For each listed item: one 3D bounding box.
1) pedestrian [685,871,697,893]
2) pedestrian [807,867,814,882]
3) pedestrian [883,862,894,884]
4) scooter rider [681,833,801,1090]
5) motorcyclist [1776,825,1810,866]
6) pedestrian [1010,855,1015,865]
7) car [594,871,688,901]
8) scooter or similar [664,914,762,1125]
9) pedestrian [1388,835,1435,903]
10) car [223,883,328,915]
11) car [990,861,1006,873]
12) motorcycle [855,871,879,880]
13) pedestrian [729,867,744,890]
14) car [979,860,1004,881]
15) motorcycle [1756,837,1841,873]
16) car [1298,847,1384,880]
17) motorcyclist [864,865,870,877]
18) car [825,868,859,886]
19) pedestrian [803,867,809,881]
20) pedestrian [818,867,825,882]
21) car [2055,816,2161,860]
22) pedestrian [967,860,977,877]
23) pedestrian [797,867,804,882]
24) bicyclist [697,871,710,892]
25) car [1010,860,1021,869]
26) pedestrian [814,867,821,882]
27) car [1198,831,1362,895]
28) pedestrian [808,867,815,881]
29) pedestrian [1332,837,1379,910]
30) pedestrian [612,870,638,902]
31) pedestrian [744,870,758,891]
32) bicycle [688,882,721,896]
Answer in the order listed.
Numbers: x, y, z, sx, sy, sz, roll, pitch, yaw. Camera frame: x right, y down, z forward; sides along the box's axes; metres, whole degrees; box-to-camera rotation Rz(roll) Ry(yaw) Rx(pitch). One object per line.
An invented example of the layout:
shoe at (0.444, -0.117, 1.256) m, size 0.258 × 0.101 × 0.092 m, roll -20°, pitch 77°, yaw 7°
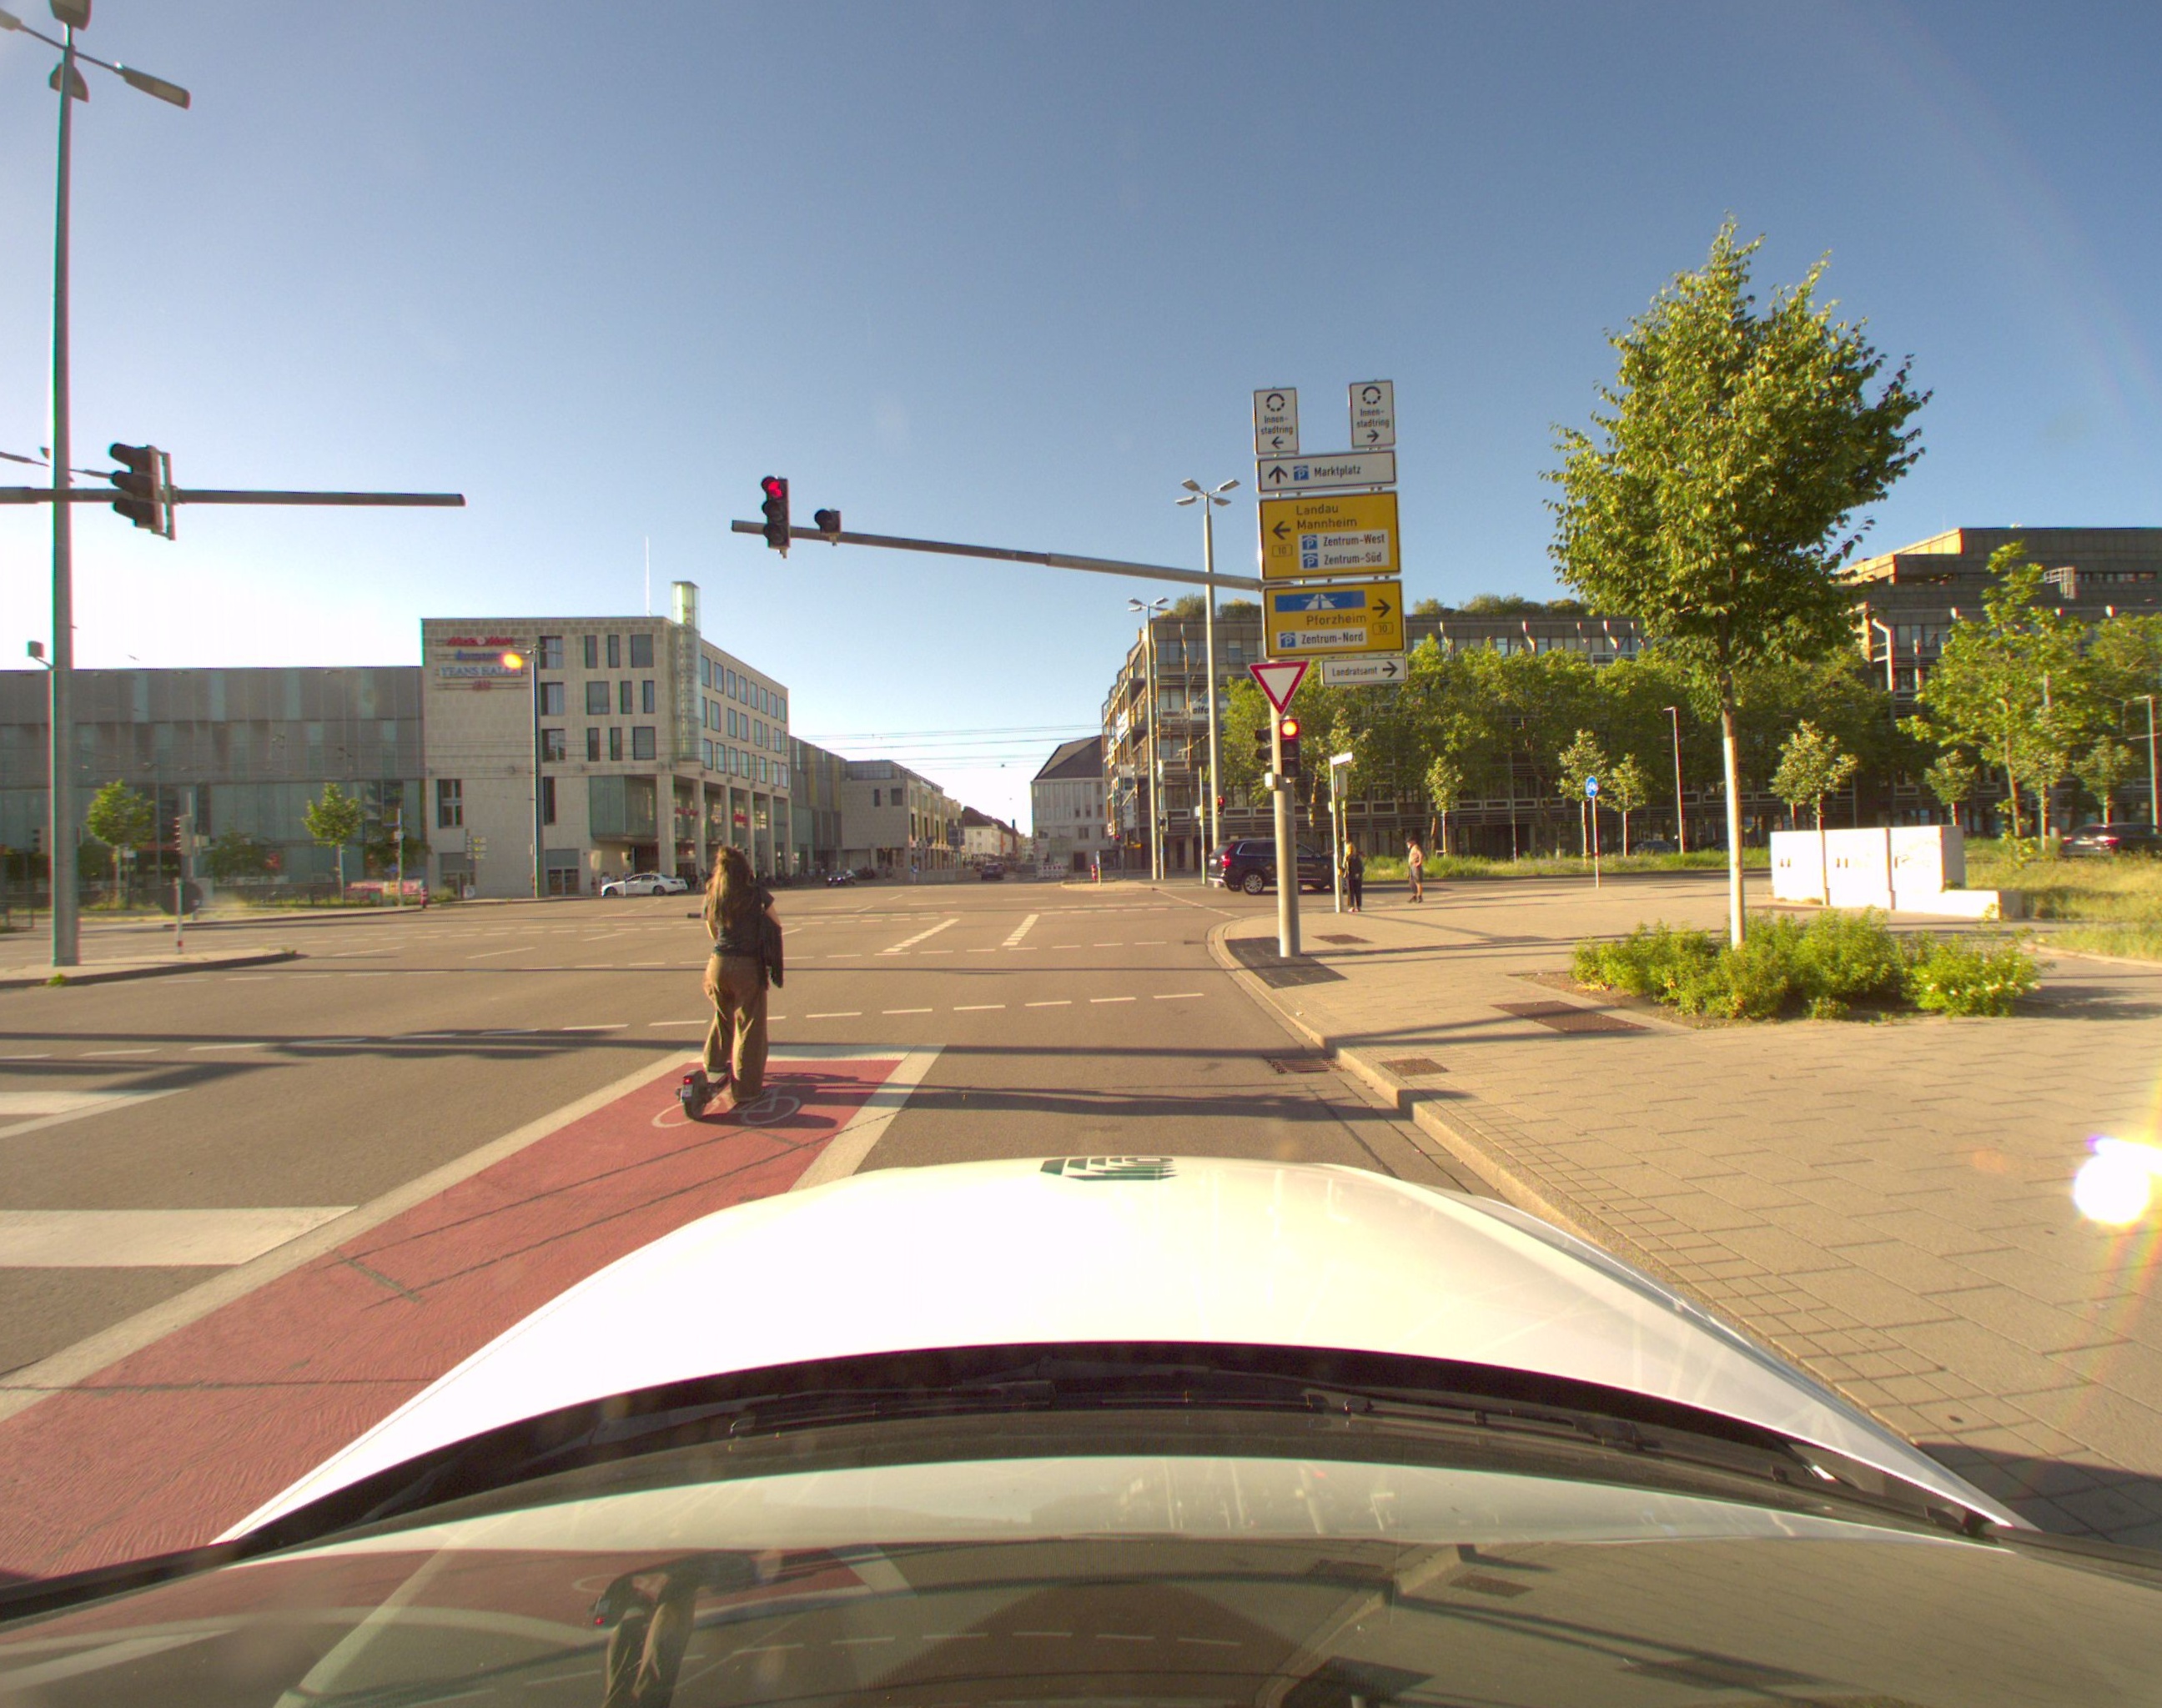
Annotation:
pedestrian at (-30.593, 2.189, 63.840) m, size 0.590 × 1.646 × 0.629 m, roll -2°, pitch 0°, yaw 1°
pedestrian at (-30.928, 2.330, 93.039) m, size 0.465 × 1.729 × 0.632 m, roll -1°, pitch -1°, yaw 35°
pedestrian at (-15.075, 1.474, 63.770) m, size 0.697 × 1.688 × 0.620 m, roll -2°, pitch 0°, yaw 2°
scooter rider at (-2.131, 0.645, 5.149) m, size 0.552 × 1.530 × 0.448 m, roll -2°, pitch 0°, yaw -7°
motorcyclist at (25.448, -0.304, 29.116) m, size 0.656 × 1.423 × 0.647 m, roll -2°, pitch 1°, yaw -6°
pedestrian at (-13.898, 1.188, 165.266) m, size 0.907 × 1.965 × 0.823 m, roll 0°, pitch -1°, yaw 1°
car at (-27.524, 1.986, 51.064) m, size 4.832 × 1.684 × 1.824 m, roll -2°, pitch 0°, yaw -2°
scooter or similar at (-2.226, 0.957, 4.981) m, size 0.306 × 1.107 × 0.835 m, roll -2°, pitch 0°, yaw -9°
pedestrian at (8.561, 0.372, 21.114) m, size 0.869 × 1.706 × 0.768 m, roll -2°, pitch 0°, yaw 0°
car at (-48.572, 2.706, 49.173) m, size 4.392 × 1.684 × 1.824 m, roll -2°, pitch 0°, yaw -2°
car at (-11.015, 1.749, 108.531) m, size 1.652 × 1.458 × 3.543 m, roll -2°, pitch 0°, yaw 2°
motorcycle at (-25.950, 2.599, 98.732) m, size 2.600 × 0.993 × 1.113 m, roll 0°, pitch -1°, yaw -8°
pedestrian at (-28.403, 2.000, 67.188) m, size 0.935 × 1.864 × 0.541 m, roll -2°, pitch 0°, yaw 18°
car at (-7.821, 1.415, 71.346) m, size 1.815 × 1.684 × 3.997 m, roll -2°, pitch 0°, yaw -2°
motorcycle at (25.692, 0.020, 29.162) m, size 2.591 × 1.208 × 0.728 m, roll -2°, pitch 1°, yaw -6°
car at (14.736, 0.522, 46.249) m, size 4.287 × 1.684 × 1.820 m, roll -2°, pitch 0°, yaw -9°
motorcyclist at (-25.977, 2.090, 98.809) m, size 0.627 × 1.406 × 0.661 m, roll 0°, pitch -1°, yaw -7°
car at (-20.696, 1.979, 70.617) m, size 1.670 × 1.357 × 4.021 m, roll -2°, pitch 0°, yaw 1°
pedestrian at (-32.436, 2.365, 96.036) m, size 0.465 × 1.729 × 0.524 m, roll -1°, pitch -1°, yaw 40°
pedestrian at (-29.878, 2.328, 93.789) m, size 0.465 × 1.729 × 0.699 m, roll -1°, pitch -1°, yaw 40°
car at (38.839, -0.603, 30.153) m, size 3.855 × 1.510 × 1.669 m, roll -2°, pitch 0°, yaw -6°
pedestrian at (-11.550, 1.511, 86.137) m, size 0.896 × 1.782 × 0.809 m, roll -2°, pitch 0°, yaw 1°
pedestrian at (-32.517, 2.353, 94.412) m, size 0.465 × 1.729 × 0.524 m, roll -1°, pitch -1°, yaw 40°
bicyclist at (-27.805, 2.024, 59.996) m, size 0.620 × 1.448 × 0.592 m, roll -2°, pitch 0°, yaw 32°
car at (-11.744, 1.844, 146.410) m, size 1.652 × 1.458 × 3.543 m, roll -2°, pitch 0°, yaw 2°
pedestrian at (-31.033, 2.380, 95.814) m, size 0.465 × 1.729 × 0.632 m, roll -1°, pitch -1°, yaw 30°
car at (6.440, 0.266, 26.581) m, size 4.815 × 1.864 × 1.880 m, roll -2°, pitch 0°, yaw -9°
pedestrian at (-31.703, 2.367, 95.831) m, size 0.465 × 1.683 × 0.524 m, roll -1°, pitch -1°, yaw 40°
pedestrian at (6.370, 0.445, 18.923) m, size 0.763 × 1.614 × 0.874 m, roll -2°, pitch 0°, yaw 0°
pedestrian at (-25.128, 1.764, 44.914) m, size 0.821 × 1.675 × 1.004 m, roll -2°, pitch 0°, yaw -2°
pedestrian at (-26.419, 2.111, 65.194) m, size 0.772 × 1.638 × 0.627 m, roll -2°, pitch 0°, yaw 8°
bicycle at (-27.768, 2.561, 60.055) m, size 0.629 × 0.903 × 2.232 m, roll -2°, pitch 0°, yaw 32°
